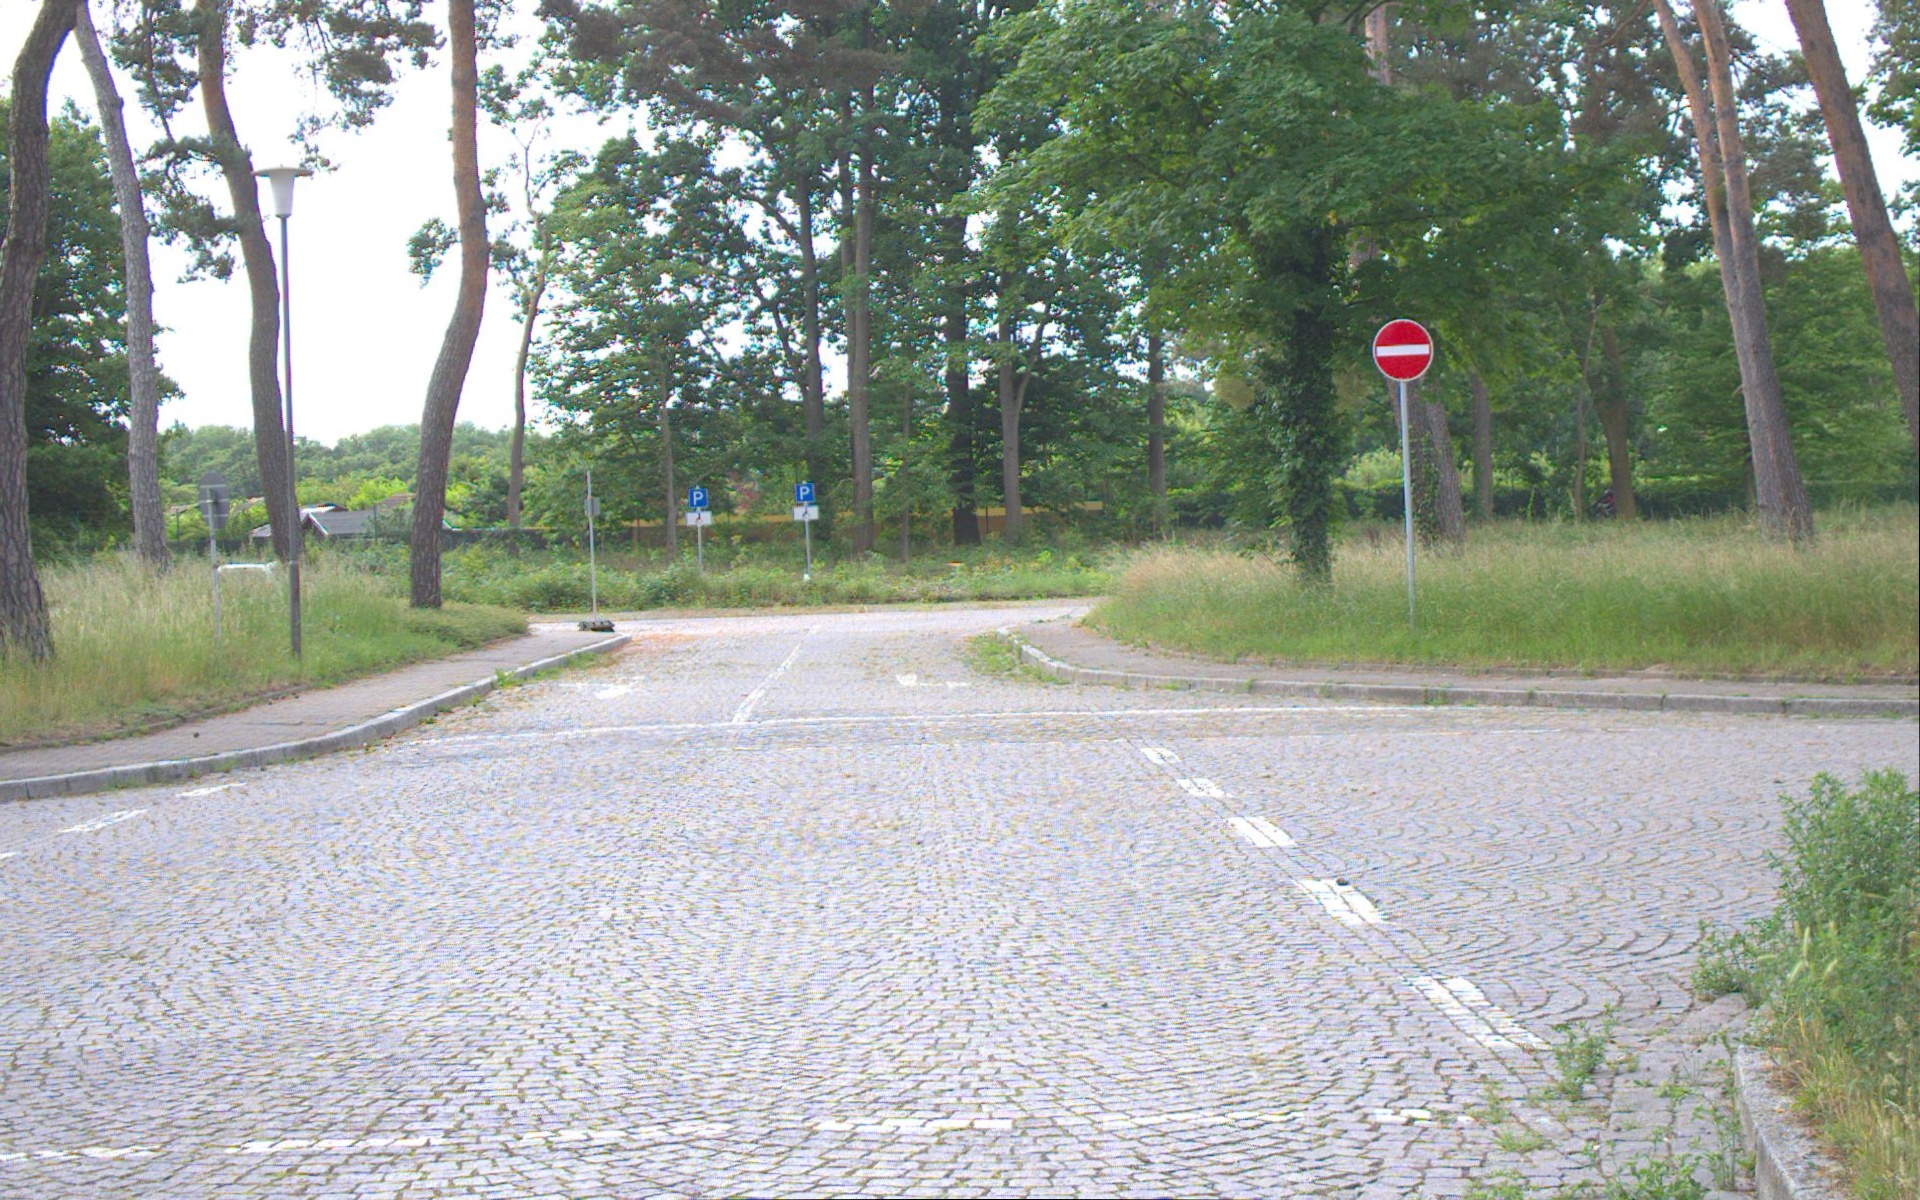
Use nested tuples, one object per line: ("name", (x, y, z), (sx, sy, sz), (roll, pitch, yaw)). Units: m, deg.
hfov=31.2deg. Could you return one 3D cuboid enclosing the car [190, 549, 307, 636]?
("car", (-15.636, -0.188, 75.693), (1.993, 1.840, 4.001), (0, 1, -4))
